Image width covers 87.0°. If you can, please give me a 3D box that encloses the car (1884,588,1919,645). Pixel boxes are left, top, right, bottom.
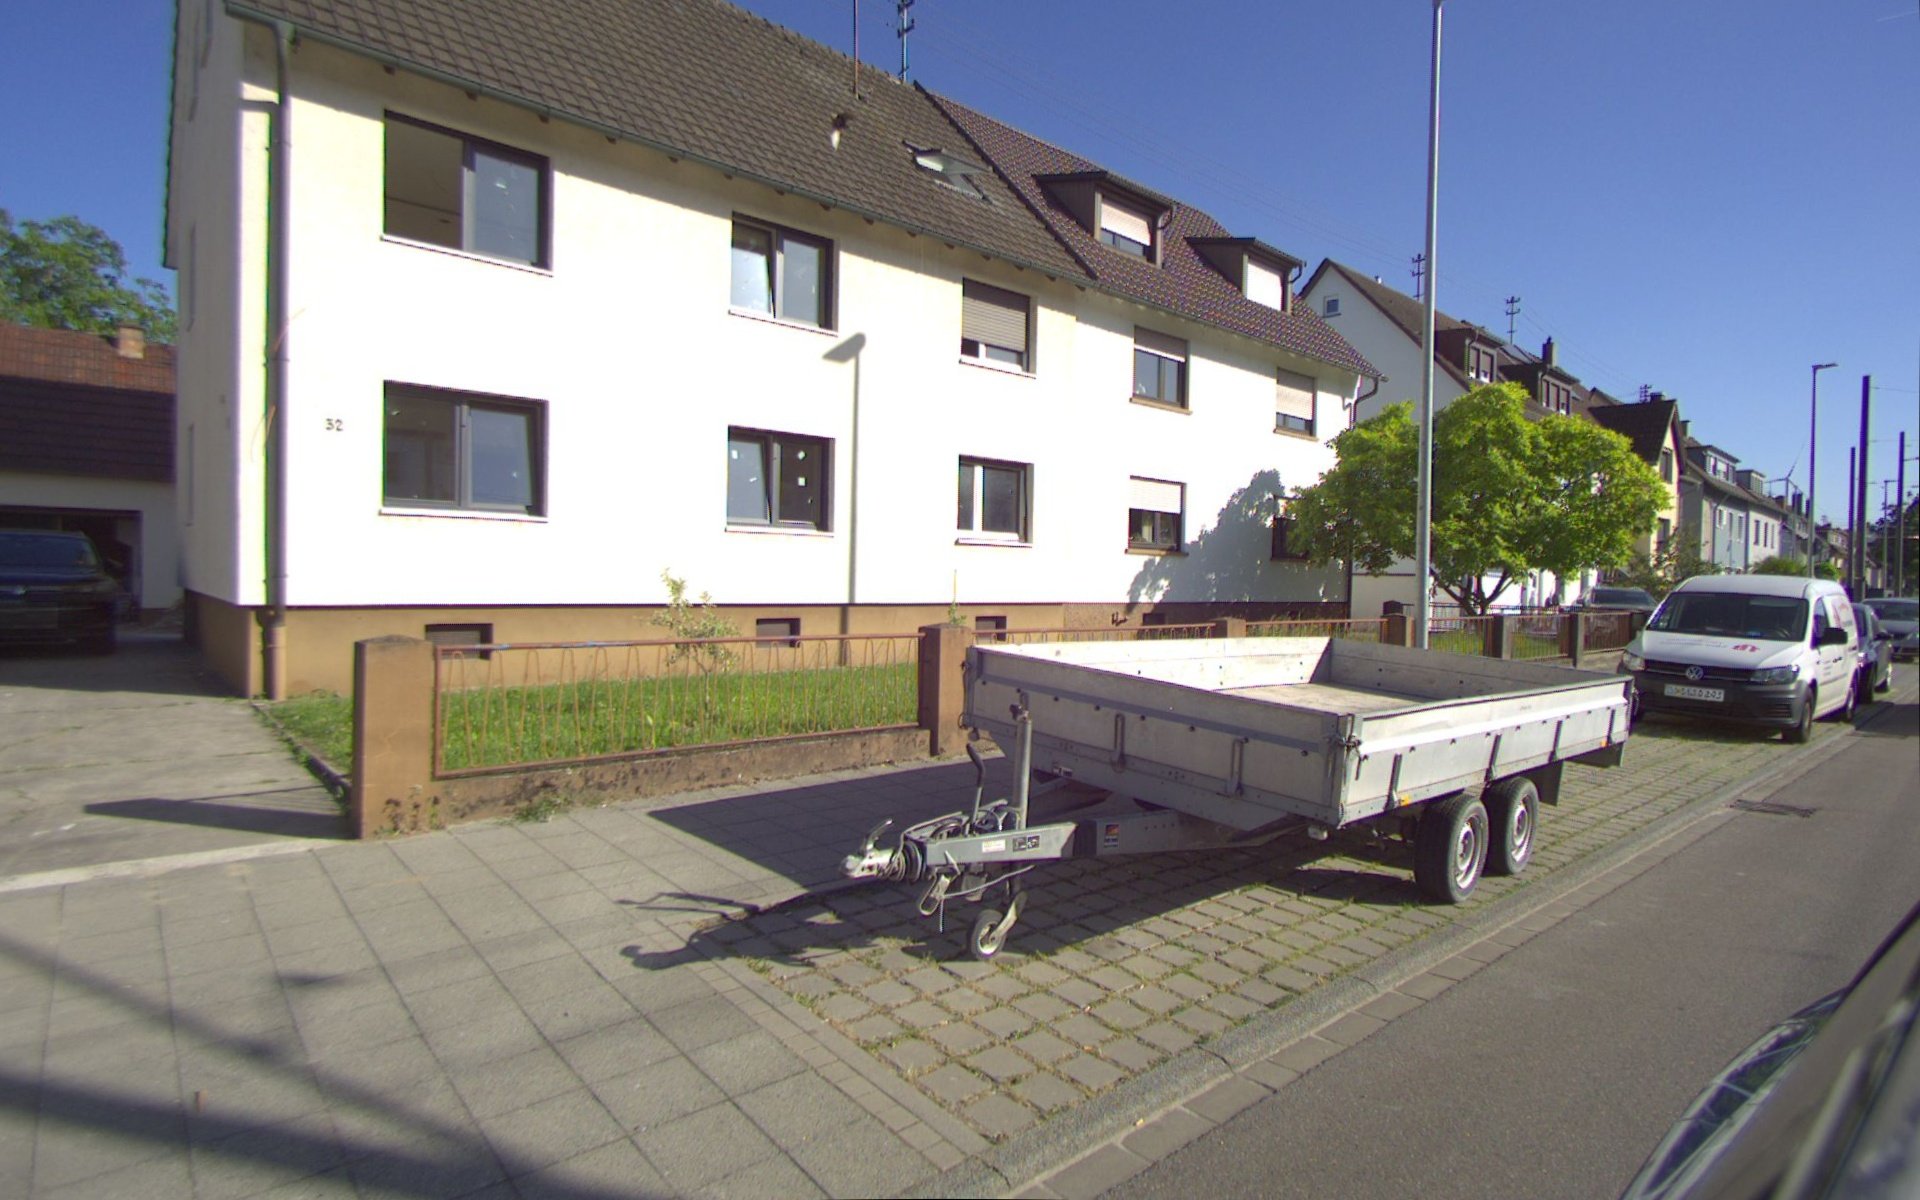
[{"bbox_3d":[27.291,0.468,28.385,4.406,1.486,1.630,0,4,-43],"label":"car"}]

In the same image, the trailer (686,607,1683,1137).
[{"bbox_3d":[1.914,0.732,5.642,6.329,1.144,2.275,0,4,-44],"label":"trailer"}]

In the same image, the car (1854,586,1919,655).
[{"bbox_3d":[22.955,0.454,24.369,4.316,1.498,1.681,-1,5,-43],"label":"car"}]

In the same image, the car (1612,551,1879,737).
[{"bbox_3d":[9.645,0.399,12.279,4.507,1.784,1.794,0,4,-43],"label":"car"}]

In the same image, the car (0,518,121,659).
[{"bbox_3d":[-12.435,-0.200,13.501,1.874,1.660,3.995,0,2,-40],"label":"car"}]

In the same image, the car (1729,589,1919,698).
[{"bbox_3d":[14.179,0.597,16.434,4.364,1.488,1.827,0,2,-41],"label":"car"}]
